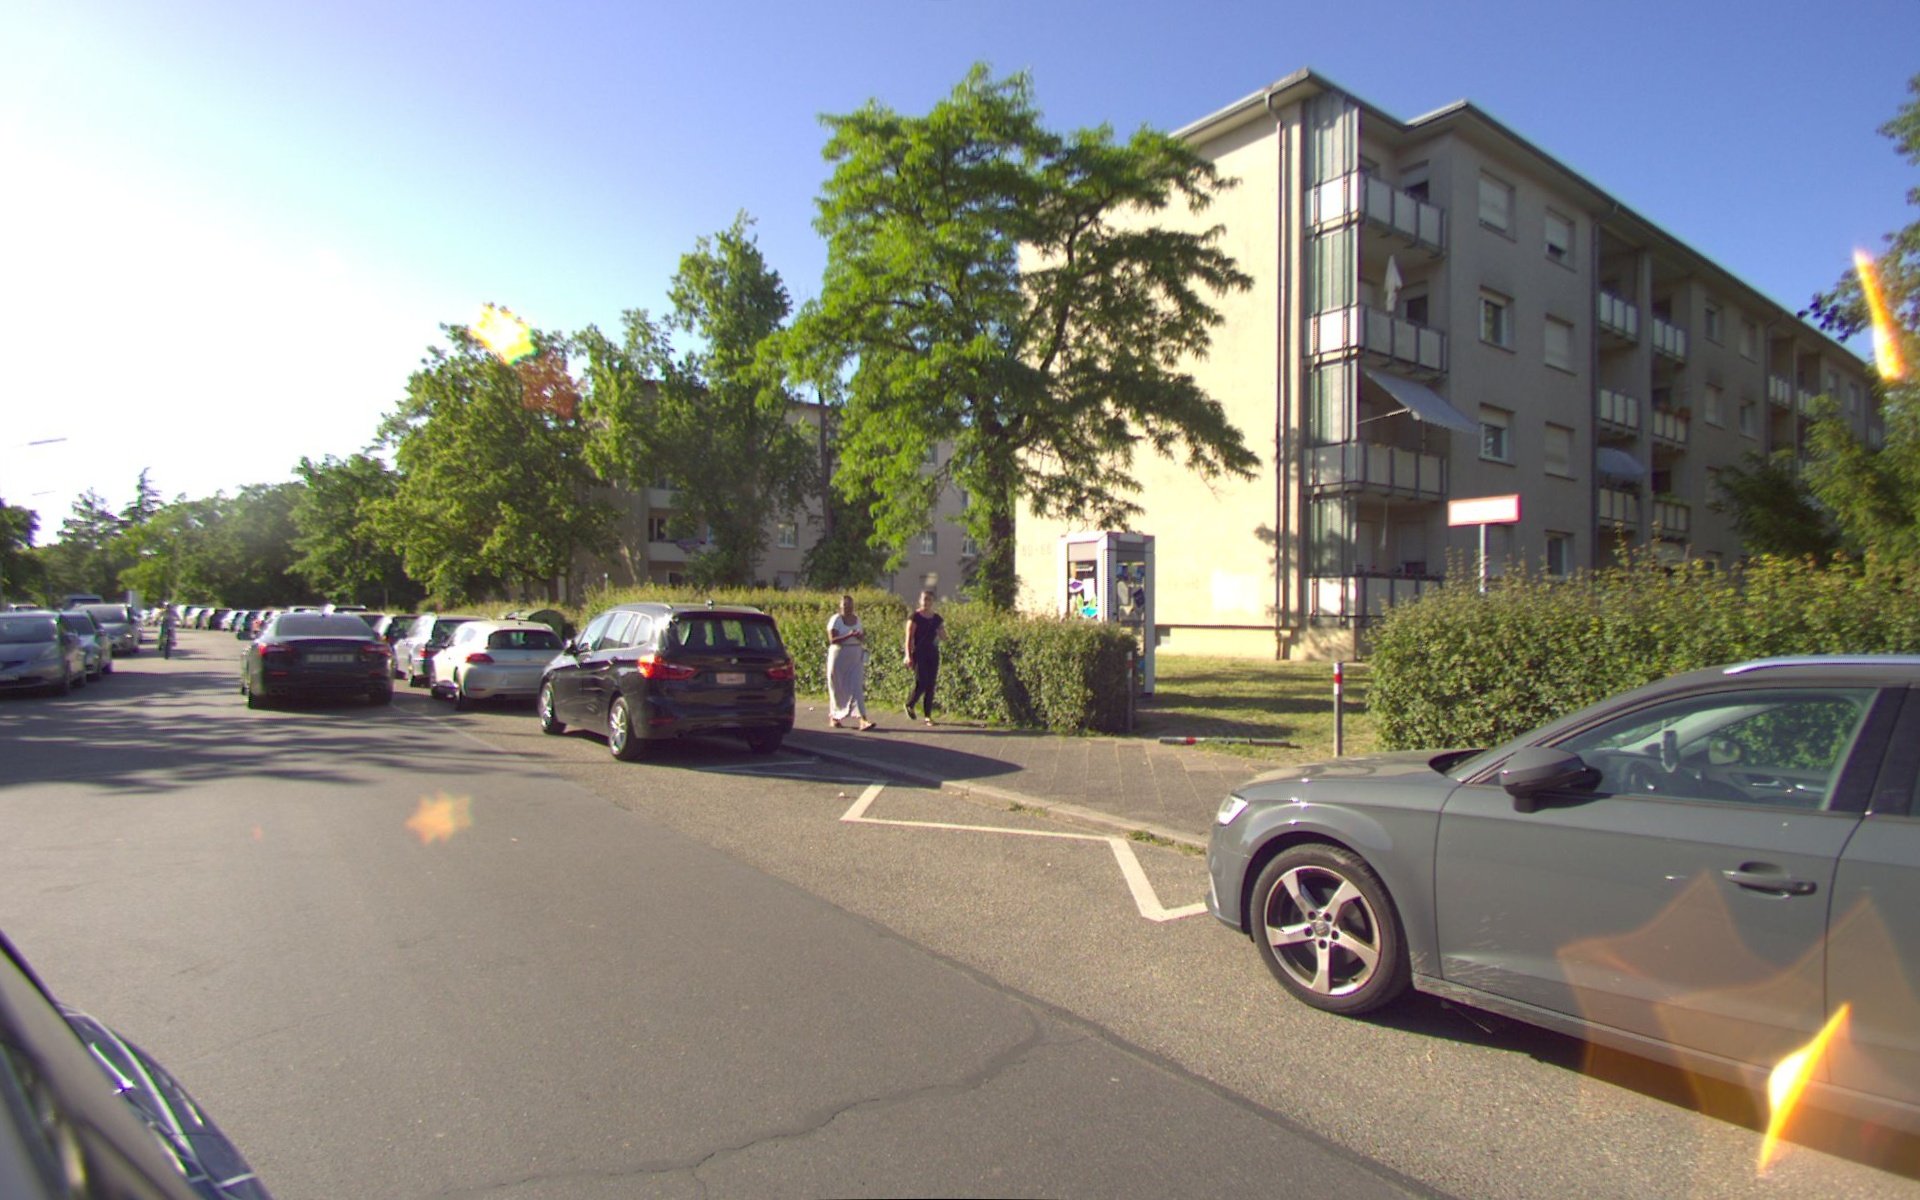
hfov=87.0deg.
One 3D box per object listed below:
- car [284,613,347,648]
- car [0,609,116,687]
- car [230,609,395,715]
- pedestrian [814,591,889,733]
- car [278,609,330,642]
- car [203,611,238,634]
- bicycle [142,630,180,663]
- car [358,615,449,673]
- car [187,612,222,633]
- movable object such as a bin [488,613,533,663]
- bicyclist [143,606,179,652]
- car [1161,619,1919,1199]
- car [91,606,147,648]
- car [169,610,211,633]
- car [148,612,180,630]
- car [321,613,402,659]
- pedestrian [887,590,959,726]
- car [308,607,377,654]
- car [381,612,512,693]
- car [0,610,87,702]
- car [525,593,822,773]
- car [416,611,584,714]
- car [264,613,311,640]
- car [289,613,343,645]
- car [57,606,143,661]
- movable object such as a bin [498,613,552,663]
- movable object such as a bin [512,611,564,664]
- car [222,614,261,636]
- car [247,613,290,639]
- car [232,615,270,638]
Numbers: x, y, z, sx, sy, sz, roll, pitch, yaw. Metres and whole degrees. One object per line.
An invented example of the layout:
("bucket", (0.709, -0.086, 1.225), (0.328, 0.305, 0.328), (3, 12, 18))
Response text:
("car", (-27.073, 1.260, 42.459), (1.617, 1.396, 4.177), (3, -2, -41))
("car", (-20.158, 0.983, 22.488), (1.806, 1.557, 4.652), (0, -1, -36))
("car", (-10.733, 0.916, 16.617), (1.885, 1.488, 4.580), (2, -2, -37))
("pedestrian", (-1.350, 0.747, 12.542), (0.711, 1.692, 0.617), (0, -1, -37))
("car", (-33.874, 1.317, 52.212), (1.783, 1.618, 4.440), (3, -2, -39))
("car", (-55.178, 1.697, 75.496), (1.633, 1.643, 4.076), (3, -2, -43))
("bicycle", (-24.049, 1.386, 30.491), (0.811, 0.908, 2.208), (0, -1, -36))
("car", (-15.311, 1.174, 27.791), (1.627, 1.475, 3.503), (2, -2, -38))
("car", (-59.617, 1.763, 79.832), (1.634, 1.643, 3.692), (3, -2, -45))
("movable object such as a bin", (-13.748, 1.144, 30.942), (0.883, 1.425, 1.329), (-3, 1, -39))
("bicyclist", (-24.008, 0.858, 30.431), (0.799, 1.366, 1.093), (0, -1, -36))
("car", (2.868, 0.821, 3.254), (1.731, 1.432, 4.278), (4, -3, -37))
("car", (-35.876, 1.128, 43.152), (1.732, 1.686, 4.420), (0, -1, -40))
("car", (-63.896, 1.764, 83.938), (5.440, 1.883, 1.859), (0, -2, 43))
("car", (-72.453, 1.922, 92.130), (3.690, 1.579, 1.636), (0, -2, 42))
("car", (-20.242, 1.191, 34.119), (1.731, 1.396, 4.684), (2, -1, -38))
("pedestrian", (-0.477, 0.721, 12.997), (0.711, 1.692, 0.601), (0, -1, -37))
("car", (-23.462, 1.148, 38.388), (1.731, 1.681, 4.399), (2, -2, -38))
("car", (-10.992, 1.079, 21.475), (1.731, 1.501, 4.912), (4, -4, -35))
("car", (-17.095, 0.948, 18.202), (1.780, 1.506, 3.804), (0, -1, -36))
("car", (-3.436, 0.819, 11.531), (1.731, 1.648, 4.380), (4, -3, -37))
("car", (-7.705, 0.954, 16.724), (1.731, 1.435, 4.221), (3, -2, -35))
("car", (-38.223, 1.480, 57.452), (1.783, 1.490, 3.947), (3, -2, -39))
("car", (-30.238, 1.343, 47.456), (1.731, 1.448, 4.159), (2, -2, -38))
("car", (-27.552, 1.033, 32.537), (1.731, 1.639, 4.506), (0, -1, -36))
("movable object such as a bin", (-12.827, 1.107, 29.836), (1.105, 1.376, 1.259), (-3, 1, -39))
("movable object such as a bin", (-12.001, 1.044, 28.780), (0.989, 1.425, 1.329), (-3, 1, -39))
("car", (-49.962, 1.734, 70.365), (1.634, 1.490, 3.738), (3, -2, -44))
("car", (-41.792, 1.565, 61.139), (1.611, 1.490, 3.884), (3, -2, -42))
("car", (-46.551, 1.734, 66.437), (1.633, 1.490, 3.110), (3, -2, -42))
